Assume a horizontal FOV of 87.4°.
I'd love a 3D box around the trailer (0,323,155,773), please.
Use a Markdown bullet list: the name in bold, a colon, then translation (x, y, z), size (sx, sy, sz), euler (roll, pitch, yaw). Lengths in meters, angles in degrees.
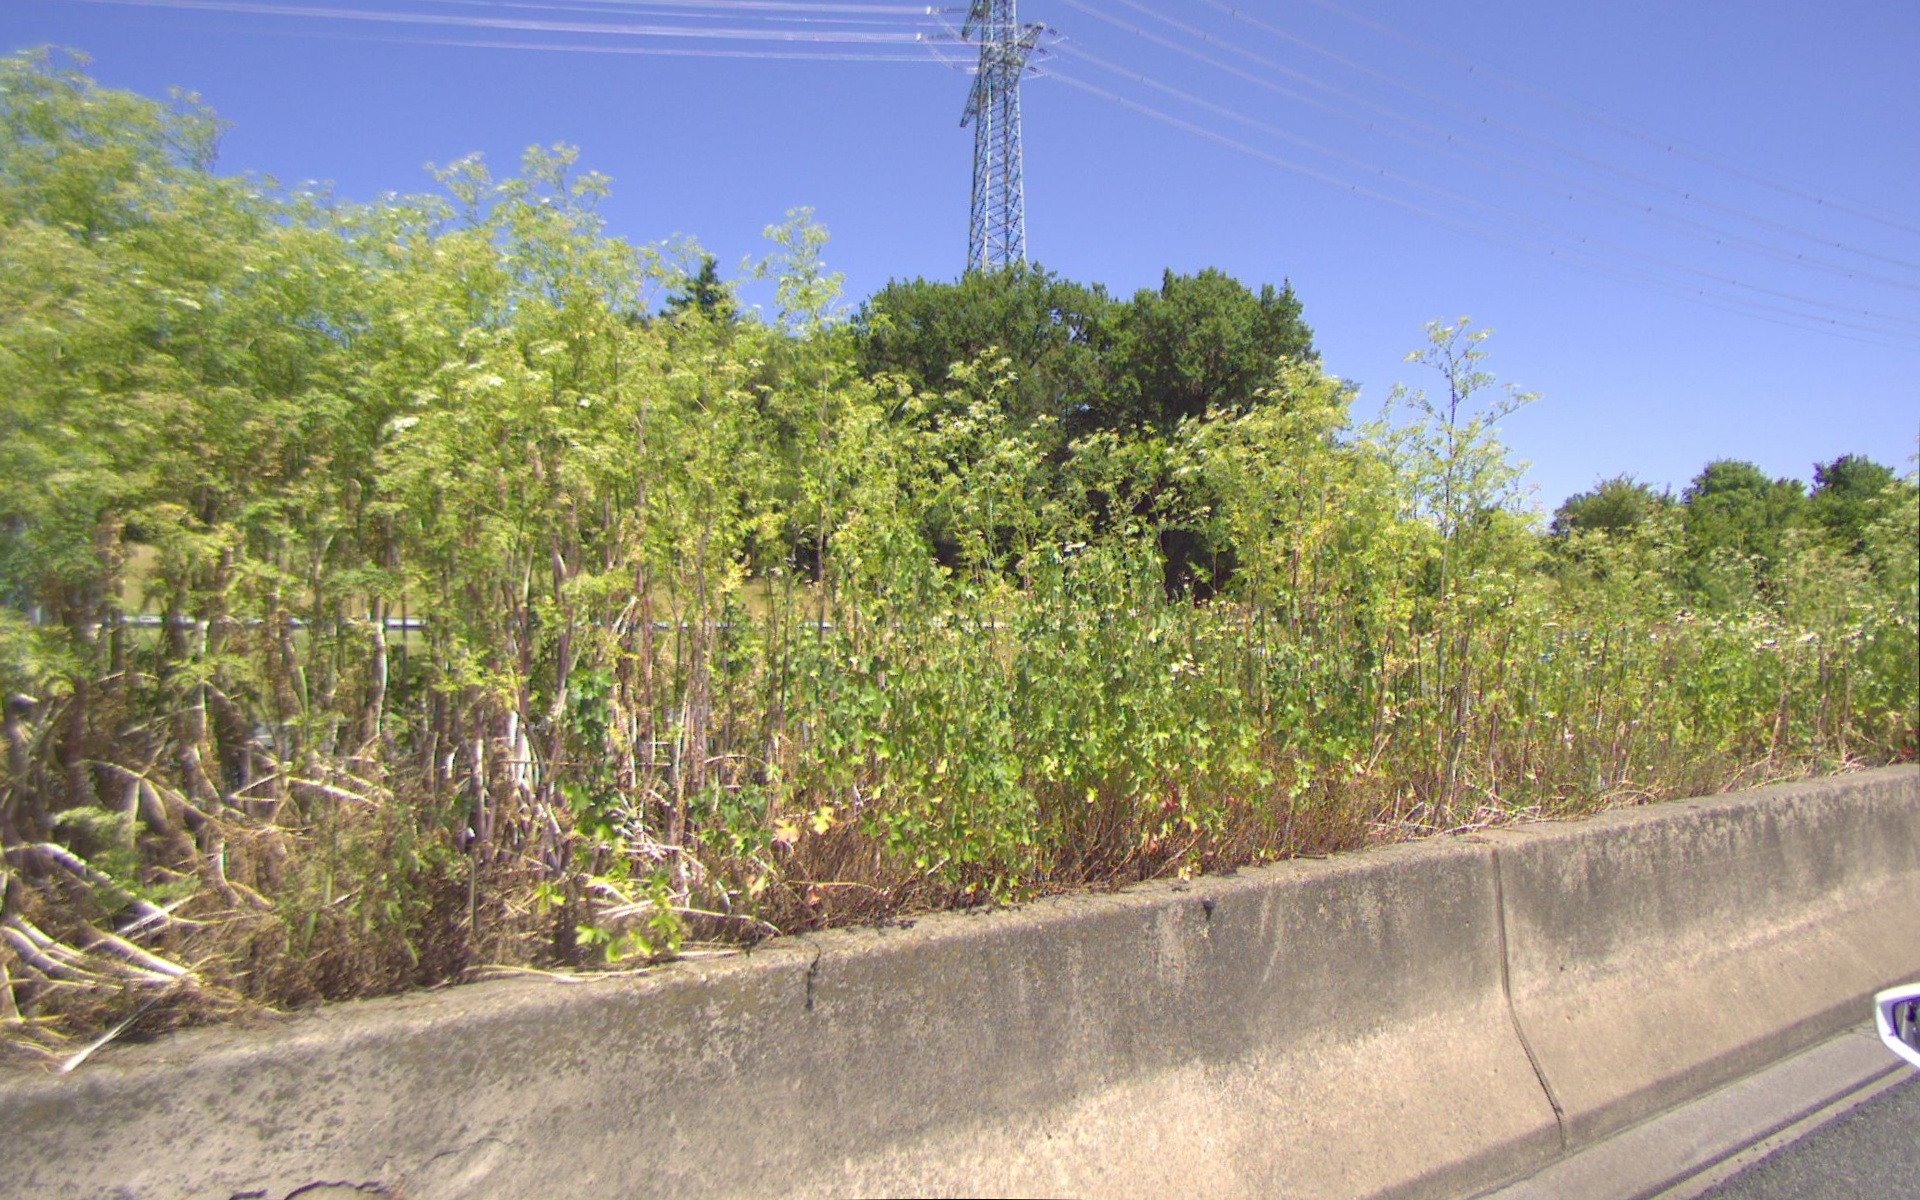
- **trailer**: translation (-14.078, -0.630, 8.501), size (10.847, 4.284, 2.998), euler (2, -1, -29)
